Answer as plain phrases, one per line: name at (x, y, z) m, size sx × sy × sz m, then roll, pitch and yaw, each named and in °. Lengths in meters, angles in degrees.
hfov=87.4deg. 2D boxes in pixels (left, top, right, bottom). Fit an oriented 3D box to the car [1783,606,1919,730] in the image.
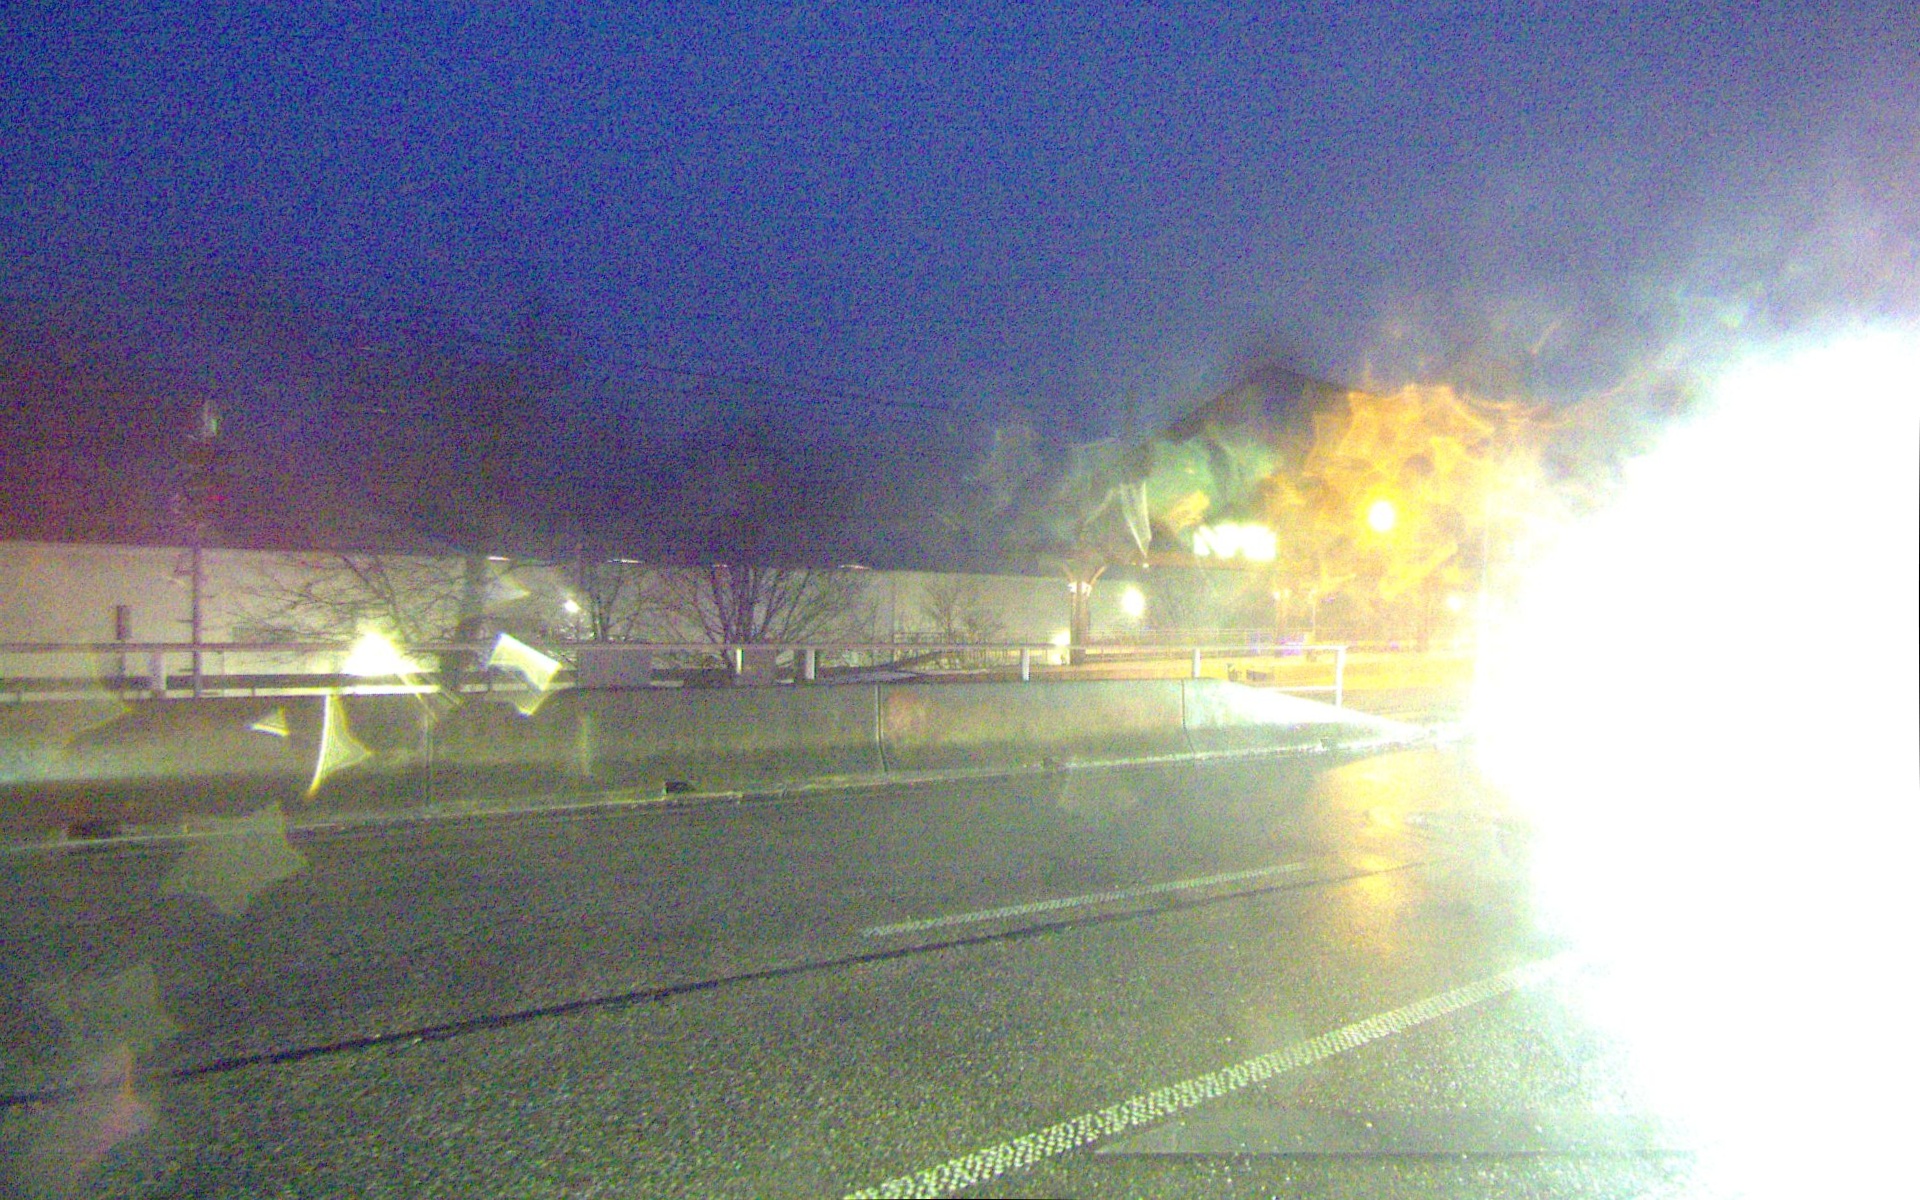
car at (14.184, 0.908, 14.804) m, size 4.435 × 1.589 × 1.878 m, roll 0°, pitch 0°, yaw -32°
